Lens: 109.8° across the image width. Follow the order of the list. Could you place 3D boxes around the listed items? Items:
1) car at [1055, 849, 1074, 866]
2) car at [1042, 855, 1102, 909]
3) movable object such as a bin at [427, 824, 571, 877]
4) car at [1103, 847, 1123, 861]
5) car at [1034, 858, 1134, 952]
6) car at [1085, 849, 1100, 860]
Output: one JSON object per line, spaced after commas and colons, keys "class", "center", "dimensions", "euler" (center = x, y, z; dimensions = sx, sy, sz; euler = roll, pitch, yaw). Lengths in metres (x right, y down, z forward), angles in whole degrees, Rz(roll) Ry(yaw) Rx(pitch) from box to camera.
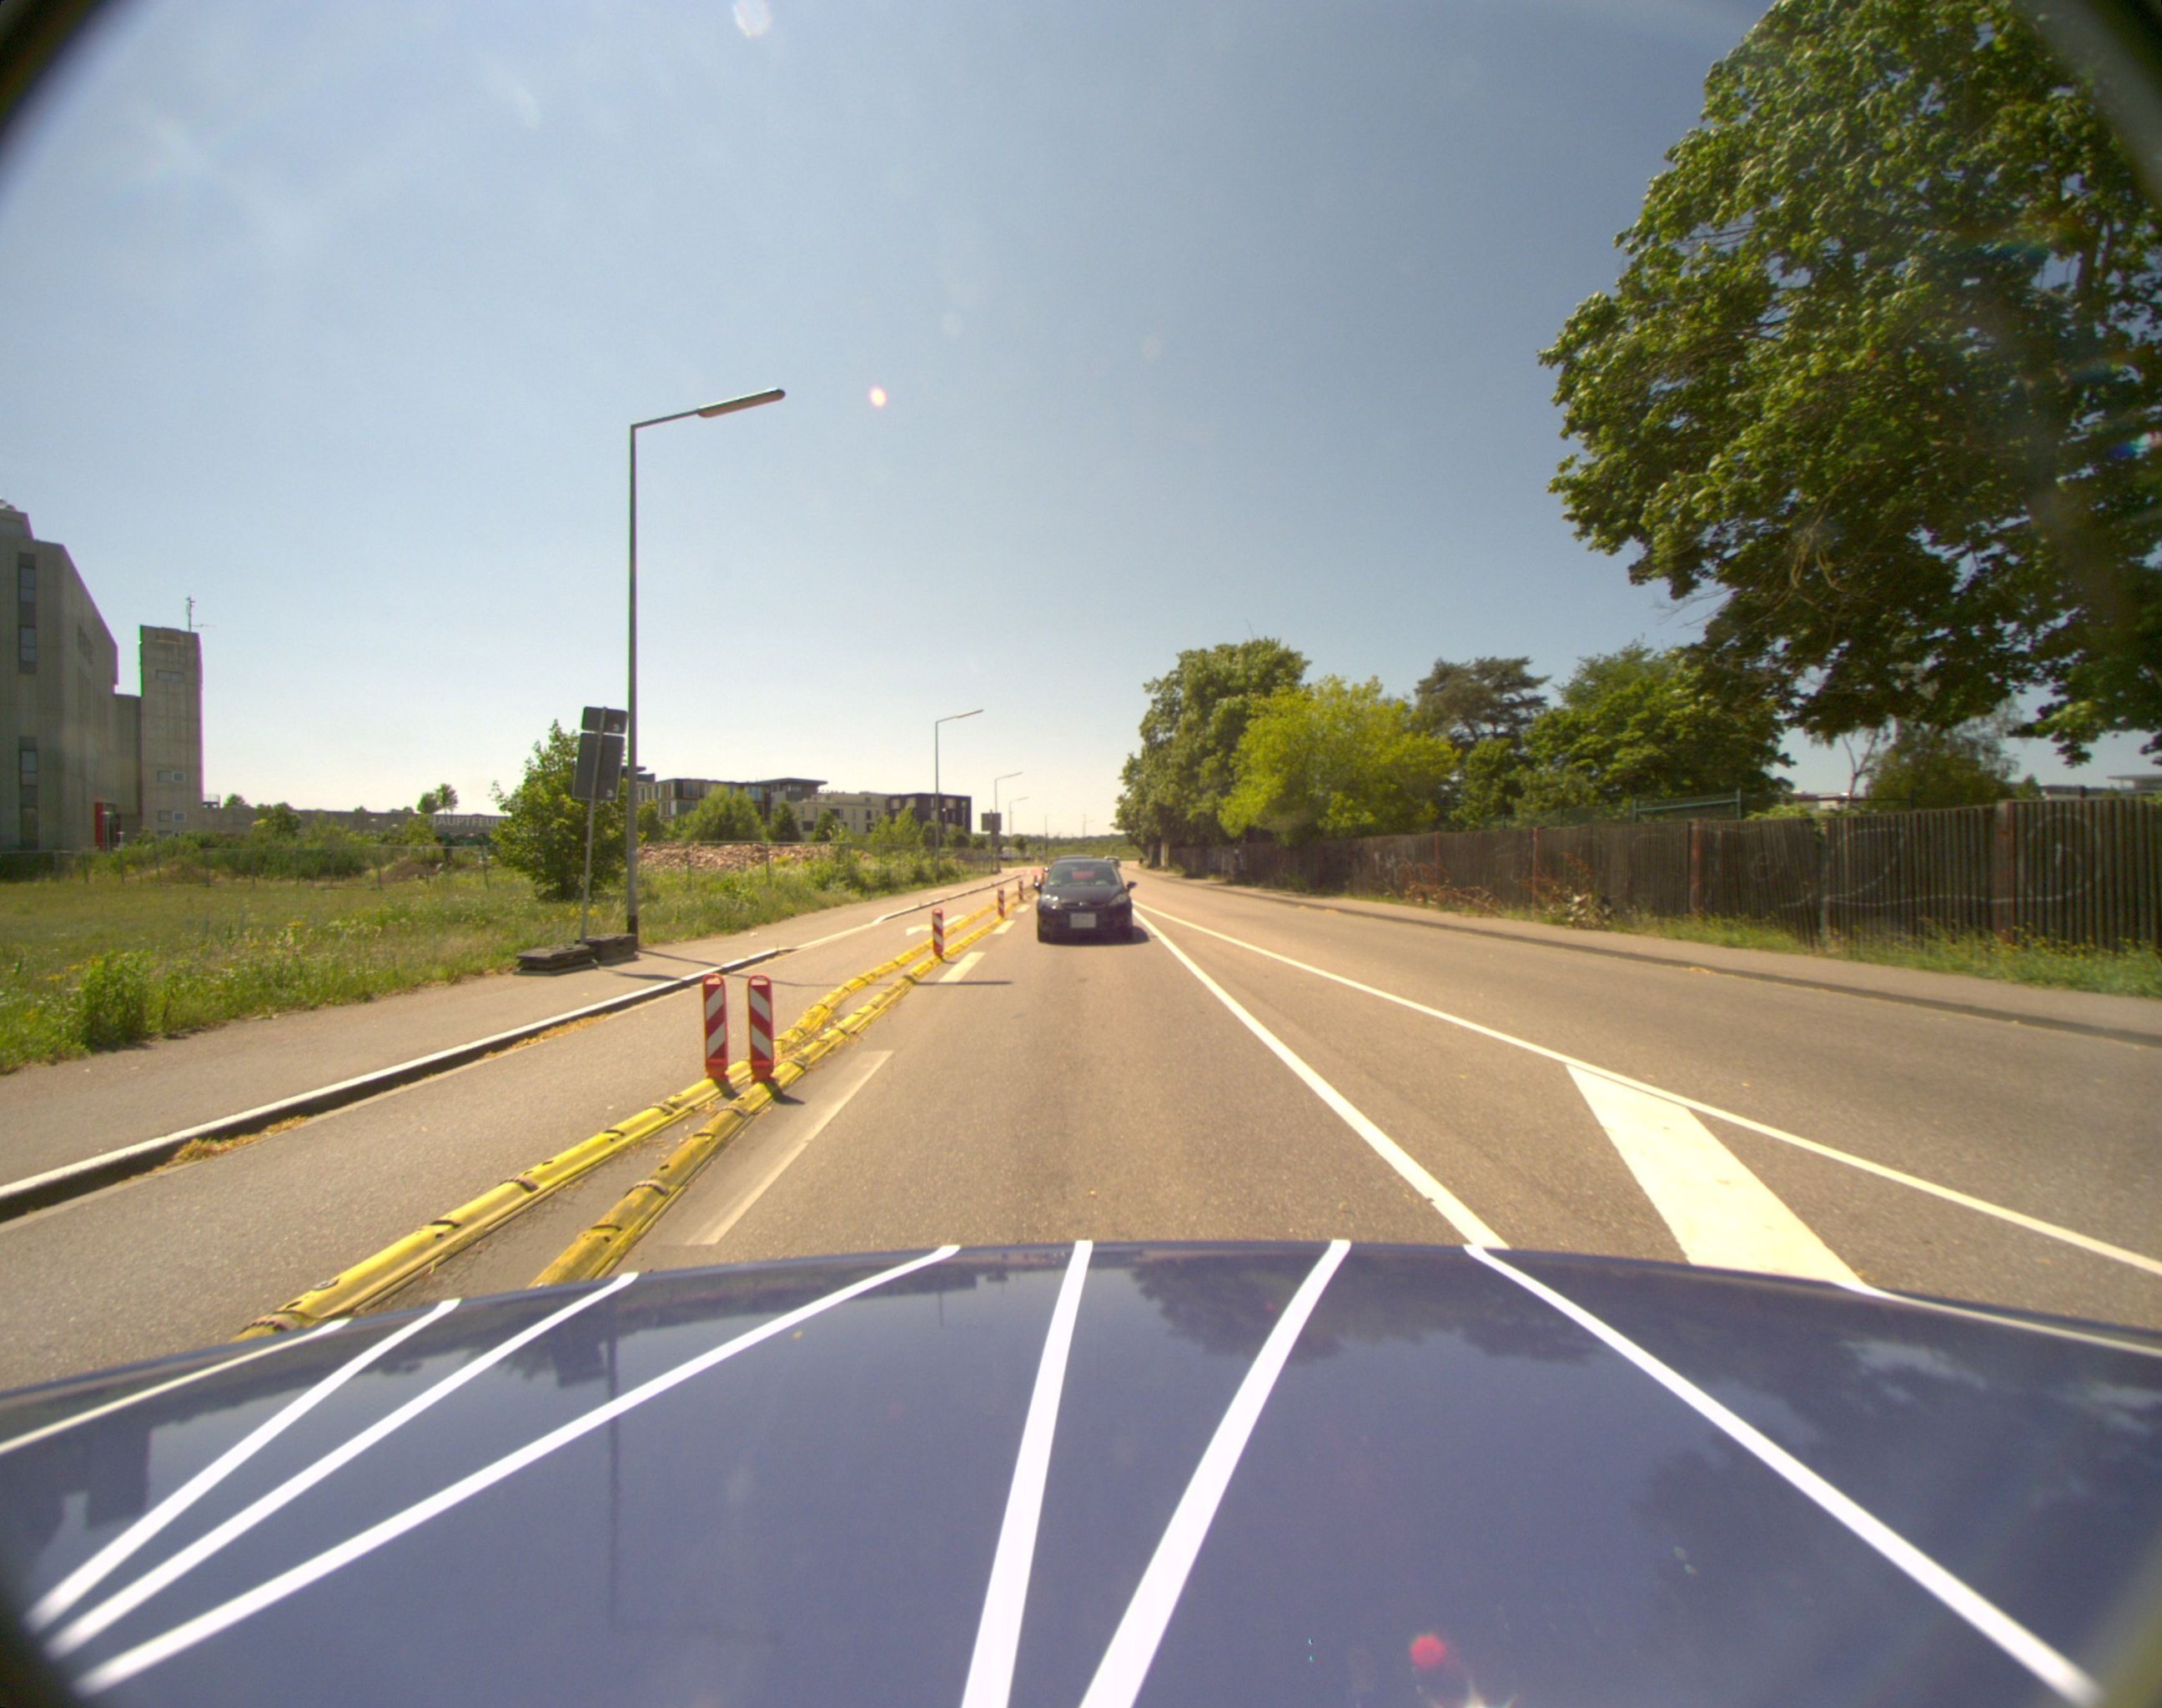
{"class": "car", "center": [-1.543, 0.301, 69.703], "dimensions": [1.759, 1.536, 3.693], "euler": [0, 0, -2]}
{"class": "car", "center": [-0.246, 0.807, 23.882], "dimensions": [1.720, 1.518, 4.211], "euler": [0, 0, 1]}
{"class": "movable object such as a bin", "center": [-37.927, -0.286, 49.937], "dimensions": [2.810, 3.131, 7.608], "euler": [-2, 1, 8]}
{"class": "car", "center": [3.543, 0.027, 84.738], "dimensions": [1.719, 1.455, 3.841], "euler": [1, 0, -5]}
{"class": "car", "center": [0.067, 0.849, 14.298], "dimensions": [1.632, 1.499, 3.819], "euler": [0, 0, 1]}
{"class": "car", "center": [1.566, 0.031, 104.591], "dimensions": [1.759, 1.536, 3.693], "euler": [0, 0, -2]}
